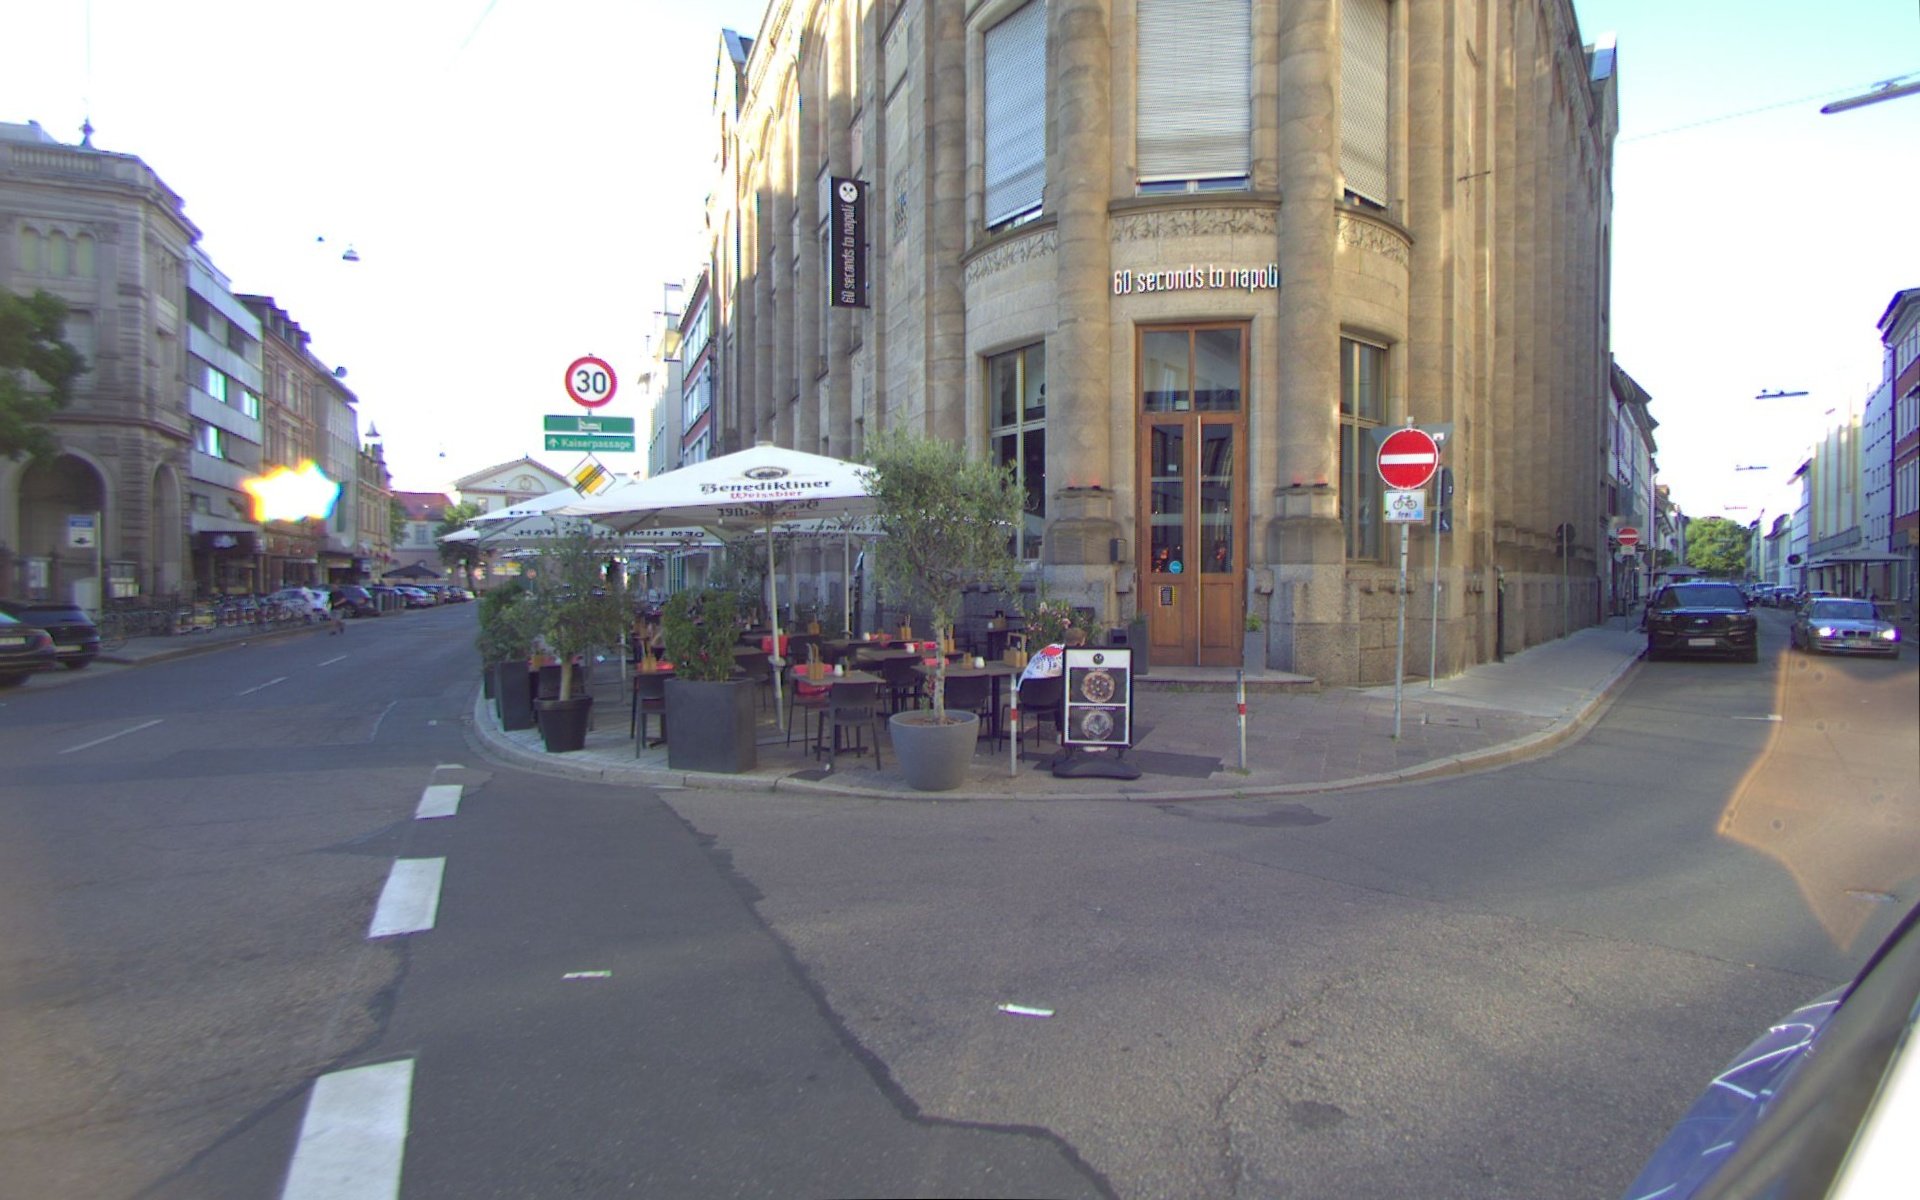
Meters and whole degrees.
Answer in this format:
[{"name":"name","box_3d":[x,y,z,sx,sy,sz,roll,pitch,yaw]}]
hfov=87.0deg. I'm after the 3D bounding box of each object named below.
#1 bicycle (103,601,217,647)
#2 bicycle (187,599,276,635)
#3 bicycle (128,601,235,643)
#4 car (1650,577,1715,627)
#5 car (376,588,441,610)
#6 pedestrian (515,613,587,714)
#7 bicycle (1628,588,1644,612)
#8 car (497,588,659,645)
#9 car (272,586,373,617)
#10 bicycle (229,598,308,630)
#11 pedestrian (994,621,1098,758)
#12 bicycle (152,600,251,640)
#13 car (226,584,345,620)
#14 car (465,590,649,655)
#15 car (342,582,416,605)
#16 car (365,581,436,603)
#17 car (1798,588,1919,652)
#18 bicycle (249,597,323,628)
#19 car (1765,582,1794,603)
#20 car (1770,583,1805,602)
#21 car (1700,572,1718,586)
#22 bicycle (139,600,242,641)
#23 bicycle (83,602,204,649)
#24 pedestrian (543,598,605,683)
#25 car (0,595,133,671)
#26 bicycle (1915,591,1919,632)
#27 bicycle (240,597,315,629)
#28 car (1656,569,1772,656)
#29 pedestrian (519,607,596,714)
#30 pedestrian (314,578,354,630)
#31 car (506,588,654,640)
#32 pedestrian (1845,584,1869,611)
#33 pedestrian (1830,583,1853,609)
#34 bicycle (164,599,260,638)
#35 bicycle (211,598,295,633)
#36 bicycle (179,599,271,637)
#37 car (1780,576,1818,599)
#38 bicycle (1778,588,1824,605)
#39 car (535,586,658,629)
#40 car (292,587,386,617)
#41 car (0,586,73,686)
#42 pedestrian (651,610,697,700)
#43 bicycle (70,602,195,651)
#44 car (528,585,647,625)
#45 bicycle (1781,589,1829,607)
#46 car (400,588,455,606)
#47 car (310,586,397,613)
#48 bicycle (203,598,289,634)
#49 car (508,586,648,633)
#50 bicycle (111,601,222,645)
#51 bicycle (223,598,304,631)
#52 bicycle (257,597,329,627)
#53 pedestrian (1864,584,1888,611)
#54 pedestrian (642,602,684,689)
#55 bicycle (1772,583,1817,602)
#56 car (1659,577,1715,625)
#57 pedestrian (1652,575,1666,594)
[{"name":"bicycle","box_3d":[-21.114,0.617,26.765,2.254,1.104,0.718,-1,1,-25]},{"name":"bicycle","box_3d":[-23.672,0.543,32.933,2.254,1.104,0.718,-1,1,-25]},{"name":"bicycle","box_3d":[-21.876,0.597,28.494,2.254,1.104,0.718,-1,1,-25]},{"name":"car","box_3d":[25.810,0.038,36.273,1.767,1.687,3.952,1,1,34]},{"name":"car","box_3d":[-40.191,-0.087,73.851,3.916,1.430,1.759,-1,1,-21]},{"name":"pedestrian","box_3d":[-5.374,0.812,13.305,0.680,1.261,0.595,0,0,29]},{"name":"bicycle","box_3d":[33.340,-0.006,49.913,0.517,1.103,1.729,5,4,36]},{"name":"car","box_3d":[-10.830,0.426,28.917,1.744,1.430,4.055,0,1,35]},{"name":"car","box_3d":[-31.478,0.035,50.113,3.916,1.430,1.759,-1,1,-21]},{"name":"bicycle","box_3d":[-25.169,0.493,36.881,2.254,1.104,0.718,-1,1,-25]},{"name":"pedestrian","box_3d":[0.821,0.819,9.609,0.808,1.203,0.606,0,0,-42]},{"name":"bicycle","box_3d":[-22.611,0.577,30.220,2.254,1.104,0.718,-1,1,-25]},{"name":"car","box_3d":[-28.678,0.072,43.146,3.916,1.430,1.759,-1,1,-21]},{"name":"car","box_3d":[-10.067,0.511,25.540,1.744,1.430,4.018,0,1,35]},{"name":"car","box_3d":[-38.735,-0.462,67.553,3.922,1.430,1.756,-1,1,-3]},{"name":"car","box_3d":[-38.875,-0.558,70.368,3.922,1.430,1.756,-1,1,-3]},{"name":"car","box_3d":[22.284,0.425,25.162,1.988,1.440,4.400,0,1,37]},{"name":"bicycle","box_3d":[-25.869,0.467,38.876,2.254,1.104,0.718,-1,1,-25]},{"name":"car","box_3d":[80.151,-0.760,99.041,1.988,2.067,4.400,0,1,37]},{"name":"car","box_3d":[66.688,-0.587,81.581,1.988,1.489,4.400,0,1,37]},{"name":"car","box_3d":[107.617,-2.975,145.435,1.988,1.919,4.400,0,1,37]},{"name":"bicycle","box_3d":[-22.289,0.588,29.350,2.254,1.104,0.718,-1,1,-25]},{"name":"bicycle","box_3d":[-20.699,0.630,25.711,2.254,1.104,0.718,-1,1,-25]},{"name":"pedestrian","box_3d":[-5.920,0.599,15.531,0.680,1.261,0.595,0,0,29]},{"name":"car","box_3d":[-19.386,0.642,21.071,3.954,1.430,1.742,-1,1,23]},{"name":"bicycle","box_3d":[28.870,0.354,30.027,0.542,1.207,1.818,0,1,36]},{"name":"bicycle","box_3d":[-25.587,0.479,37.984,2.254,1.104,0.718,-1,1,-25]},{"name":"car","box_3d":[17.488,0.216,23.612,1.988,1.805,4.871,0,1,36]},{"name":"pedestrian","box_3d":[-4.955,0.723,12.477,0.680,1.261,0.595,0,0,29]},{"name":"pedestrian","box_3d":[-21.504,0.125,34.799,0.953,1.772,1.005,0,1,-19]},{"name":"car","box_3d":[-11.621,0.372,31.174,1.744,1.430,4.018,0,1,35]},{"name":"pedestrian","box_3d":[36.053,-0.118,40.668,0.607,1.076,0.542,-1,1,30]},{"name":"pedestrian","box_3d":[38.158,-0.179,43.807,0.628,1.081,0.554,-1,1,30]},{"name":"bicycle","box_3d":[-22.937,0.565,31.095,2.254,1.104,0.718,-1,1,-25]},{"name":"bicycle","box_3d":[-24.343,0.517,34.894,2.254,1.104,0.718,-1,1,-25]},{"name":"bicycle","box_3d":[-23.312,0.552,32.154,2.254,1.104,0.718,-1,1,-25]},{"name":"car","box_3d":[63.699,-0.940,76.888,1.988,1.697,4.400,0,1,37]},{"name":"bicycle","box_3d":[59.729,-0.244,71.930,2.475,1.193,0.772,0,1,44]},{"name":"car","box_3d":[-13.265,0.228,37.146,1.744,1.430,3.980,0,1,35]},{"name":"car","box_3d":[-32.564,0.093,53.203,3.916,1.430,1.759,-1,1,-21]},{"name":"car","box_3d":[-17.490,0.608,17.466,3.954,1.628,1.742,-1,1,23]},{"name":"pedestrian","box_3d":[-3.974,0.743,14.055,0.588,1.203,0.574,0,0,-18]},{"name":"bicycle","box_3d":[-20.348,0.639,24.949,2.254,1.104,0.718,-1,1,-25]},{"name":"car","box_3d":[-14.528,0.162,39.660,1.744,1.430,4.093,0,1,35]},{"name":"bicycle","box_3d":[57.384,-0.127,68.756,2.475,1.193,0.772,0,1,44]},{"name":"car","box_3d":[-44.970,-0.230,85.582,3.916,1.430,1.759,-1,1,-21]},{"name":"car","box_3d":[-34.021,-0.052,56.870,3.916,1.430,1.759,-1,1,-21]},{"name":"bicycle","box_3d":[-23.997,0.527,34.070,2.254,1.104,0.718,-1,1,-25]},{"name":"car","box_3d":[-12.701,0.281,33.833,1.744,1.430,4.130,0,1,35]},{"name":"bicycle","box_3d":[-21.555,0.610,27.538,2.254,1.104,0.718,-1,1,-25]},{"name":"bicycle","box_3d":[-24.800,0.502,36.090,2.254,1.104,0.718,-1,1,-25]},{"name":"bicycle","box_3d":[-26.219,0.454,39.842,2.254,1.104,0.718,-1,1,-25]},{"name":"pedestrian","box_3d":[37.038,-0.102,40.913,0.598,1.076,0.542,-1,1,29]},{"name":"pedestrian","box_3d":[-4.467,0.661,15.220,0.588,1.261,0.687,0,0,-18]},{"name":"bicycle","box_3d":[61.269,-0.534,74.313,2.475,1.347,0.772,0,1,44]},{"name":"car","box_3d":[29.117,0.009,40.508,1.666,1.829,4.182,-1,0,38]},{"name":"pedestrian","box_3d":[46.966,-1.069,68.004,0.733,1.258,0.637,0,1,39]}]
